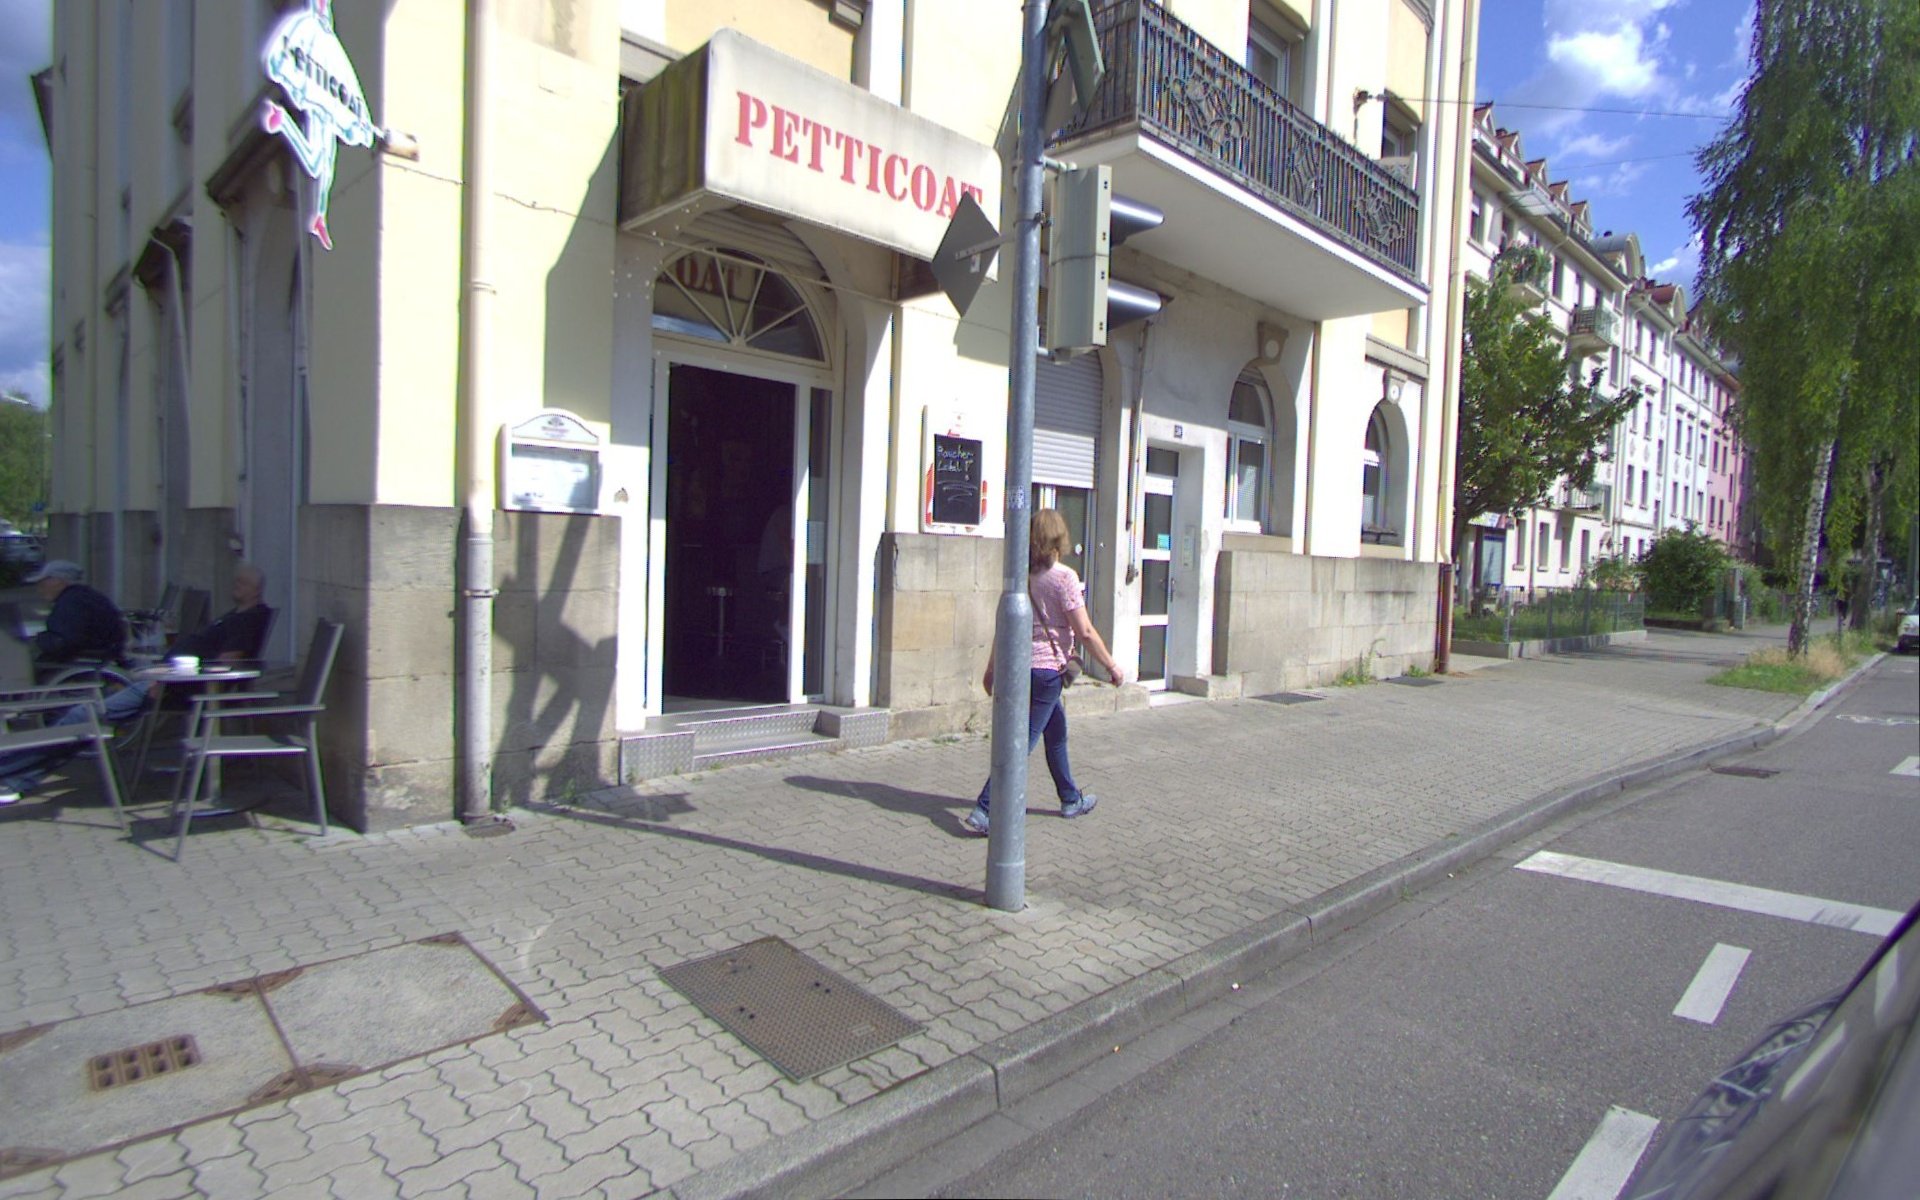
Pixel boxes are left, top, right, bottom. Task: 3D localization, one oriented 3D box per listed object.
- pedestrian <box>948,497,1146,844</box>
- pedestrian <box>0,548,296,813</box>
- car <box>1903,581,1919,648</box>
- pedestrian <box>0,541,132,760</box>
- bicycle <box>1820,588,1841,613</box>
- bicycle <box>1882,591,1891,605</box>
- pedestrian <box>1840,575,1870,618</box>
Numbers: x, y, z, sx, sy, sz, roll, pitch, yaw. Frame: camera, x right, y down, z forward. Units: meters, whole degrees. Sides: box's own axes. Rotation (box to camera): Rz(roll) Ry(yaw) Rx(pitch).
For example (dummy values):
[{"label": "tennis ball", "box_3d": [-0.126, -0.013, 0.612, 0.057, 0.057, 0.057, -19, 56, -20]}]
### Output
[{"label": "pedestrian", "box_3d": [0.469, 0.319, 5.402, 0.670, 1.667, 0.754, 6, 5, 35]}, {"label": "pedestrian", "box_3d": [-4.449, 0.360, 5.516, 0.534, 1.284, 1.284, 2, 4, 43]}, {"label": "car", "box_3d": [25.226, 0.350, 25.522, 3.931, 1.650, 1.724, 0, 1, -41]}, {"label": "pedestrian", "box_3d": [-5.685, 0.288, 6.382, 0.534, 1.284, 0.651, 5, 3, 43]}, {"label": "bicycle", "box_3d": [40.547, 0.027, 47.124, 2.146, 1.090, 0.472, 0, 3, -43]}, {"label": "bicycle", "box_3d": [68.414, -0.150, 74.724, 1.457, 1.034, 0.350, 0, 6, -45]}, {"label": "pedestrian", "box_3d": [36.809, -0.130, 41.628, 0.678, 1.703, 0.732, 1, 4, -40]}]
